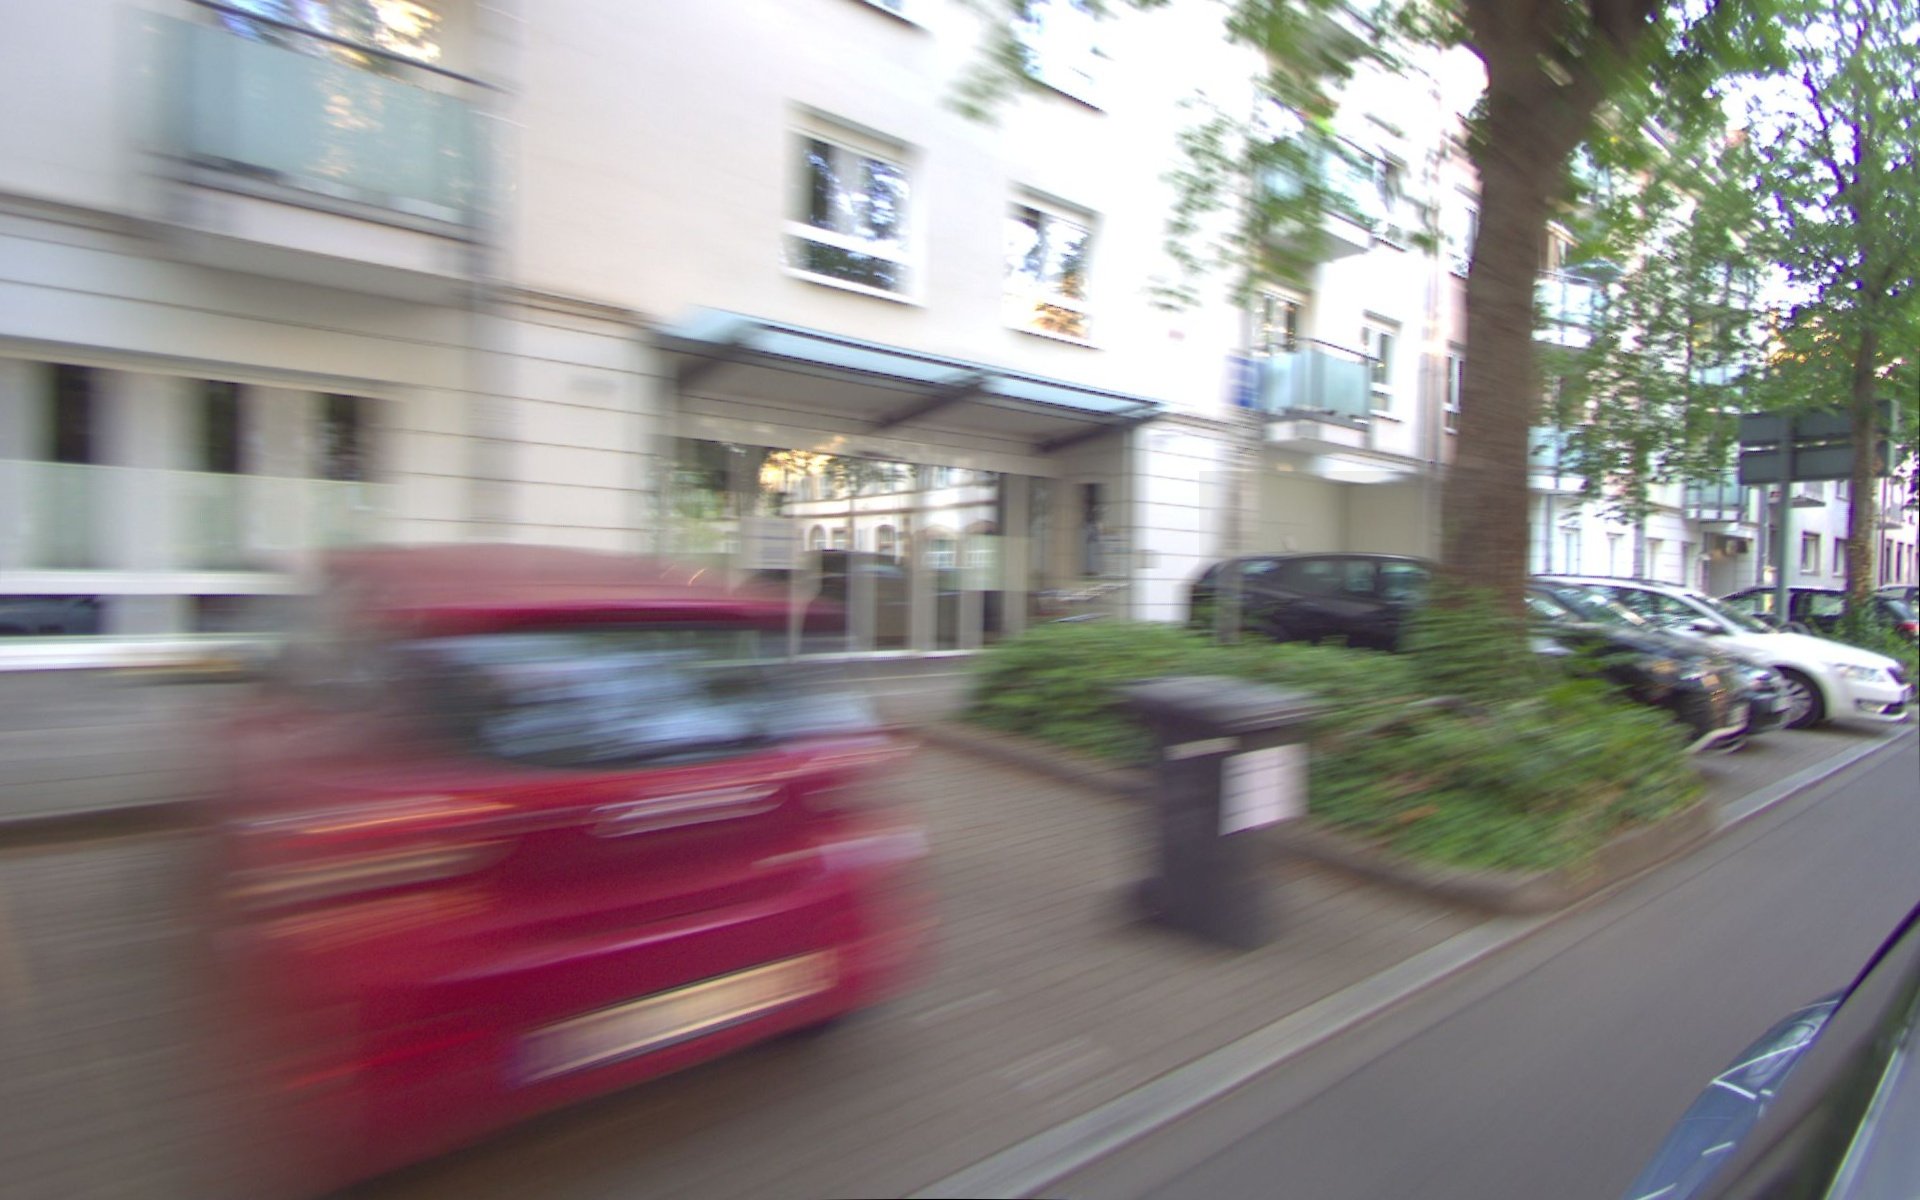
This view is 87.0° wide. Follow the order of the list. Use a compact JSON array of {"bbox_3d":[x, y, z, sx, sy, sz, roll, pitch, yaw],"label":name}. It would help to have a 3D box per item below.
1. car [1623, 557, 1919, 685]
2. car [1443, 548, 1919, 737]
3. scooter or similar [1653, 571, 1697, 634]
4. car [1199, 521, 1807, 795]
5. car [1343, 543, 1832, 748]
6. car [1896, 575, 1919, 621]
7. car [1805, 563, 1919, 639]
[{"bbox_3d":[13.050,0.265,15.887,1.881,1.491,3.996,0,6,-43],"label":"car"},{"bbox_3d":[8.539,0.329,12.115,1.741,1.570,4.586,1,5,-40],"label":"car"},{"bbox_3d":[14.785,0.048,20.924,1.230,1.256,0.400,1,2,-40],"label":"scooter or similar"},{"bbox_3d":[4.564,0.273,9.199,1.860,1.723,4.400,1,5,-37],"label":"car"},{"bbox_3d":[6.430,0.314,10.803,1.695,1.543,4.002,1,5,-37],"label":"car"},{"bbox_3d":[33.645,0.127,32.905,1.698,1.487,4.377,1,5,-34],"label":"car"},{"bbox_3d":[23.503,0.081,24.828,1.891,1.686,3.874,1,5,-39],"label":"car"}]
